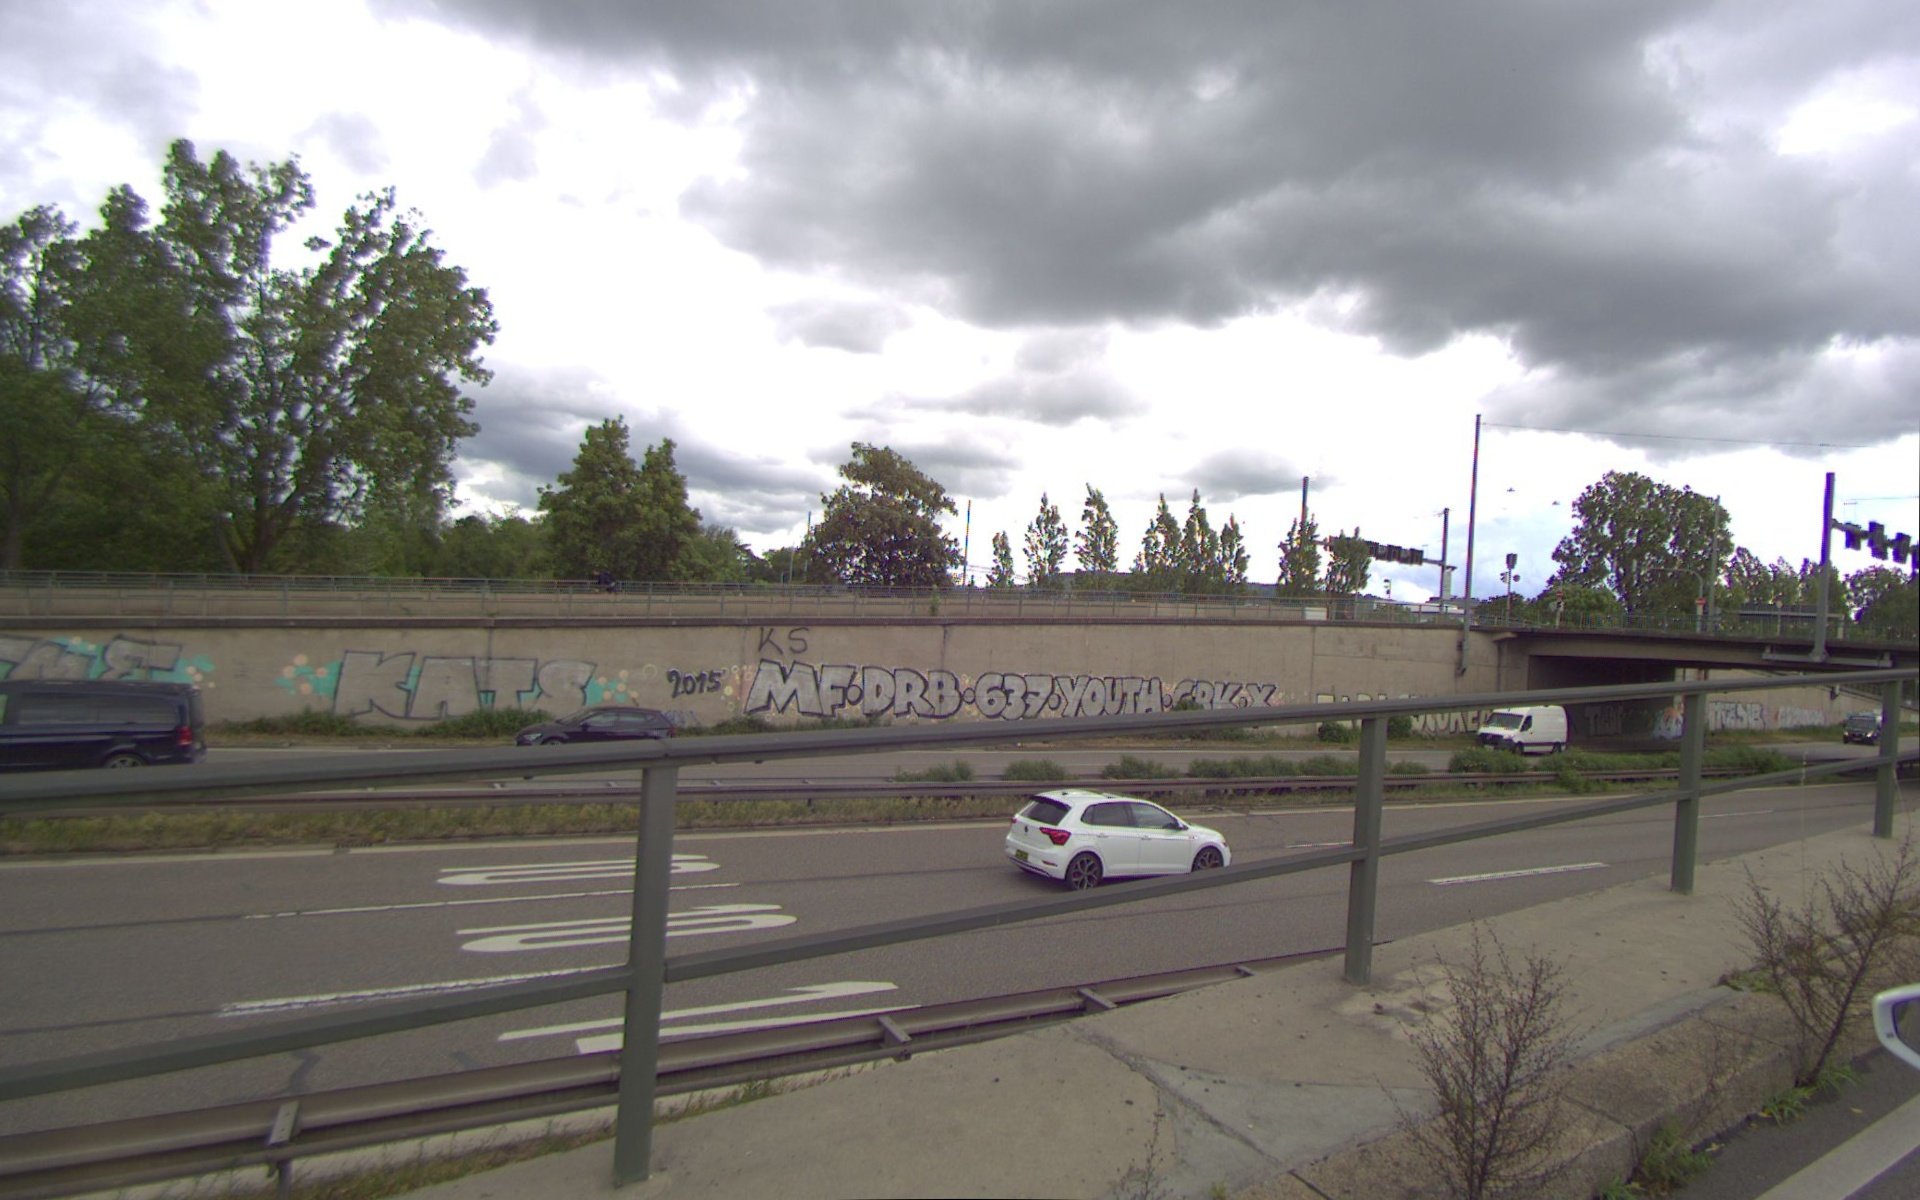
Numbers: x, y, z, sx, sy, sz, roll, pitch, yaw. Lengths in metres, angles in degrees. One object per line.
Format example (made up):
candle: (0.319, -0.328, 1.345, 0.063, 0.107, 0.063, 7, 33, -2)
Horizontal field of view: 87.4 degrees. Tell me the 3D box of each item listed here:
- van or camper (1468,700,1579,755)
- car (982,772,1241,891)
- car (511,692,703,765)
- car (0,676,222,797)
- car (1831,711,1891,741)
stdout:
van or camper: (29.119, 6.587, 51.819, 6.280, 2.488, 2.170, 5, -2, -32)
car: (2.579, 3.806, 16.976, 3.951, 1.519, 1.847, 5, -3, -28)
car: (-9.714, 3.546, 27.734, 4.650, 1.714, 1.984, 5, -3, -30)
car: (-17.313, 2.542, 18.986, 5.059, 2.014, 2.082, 6, -3, -31)
car: (75.658, 10.619, 84.321, 6.122, 2.183, 2.276, 6, -3, -34)
